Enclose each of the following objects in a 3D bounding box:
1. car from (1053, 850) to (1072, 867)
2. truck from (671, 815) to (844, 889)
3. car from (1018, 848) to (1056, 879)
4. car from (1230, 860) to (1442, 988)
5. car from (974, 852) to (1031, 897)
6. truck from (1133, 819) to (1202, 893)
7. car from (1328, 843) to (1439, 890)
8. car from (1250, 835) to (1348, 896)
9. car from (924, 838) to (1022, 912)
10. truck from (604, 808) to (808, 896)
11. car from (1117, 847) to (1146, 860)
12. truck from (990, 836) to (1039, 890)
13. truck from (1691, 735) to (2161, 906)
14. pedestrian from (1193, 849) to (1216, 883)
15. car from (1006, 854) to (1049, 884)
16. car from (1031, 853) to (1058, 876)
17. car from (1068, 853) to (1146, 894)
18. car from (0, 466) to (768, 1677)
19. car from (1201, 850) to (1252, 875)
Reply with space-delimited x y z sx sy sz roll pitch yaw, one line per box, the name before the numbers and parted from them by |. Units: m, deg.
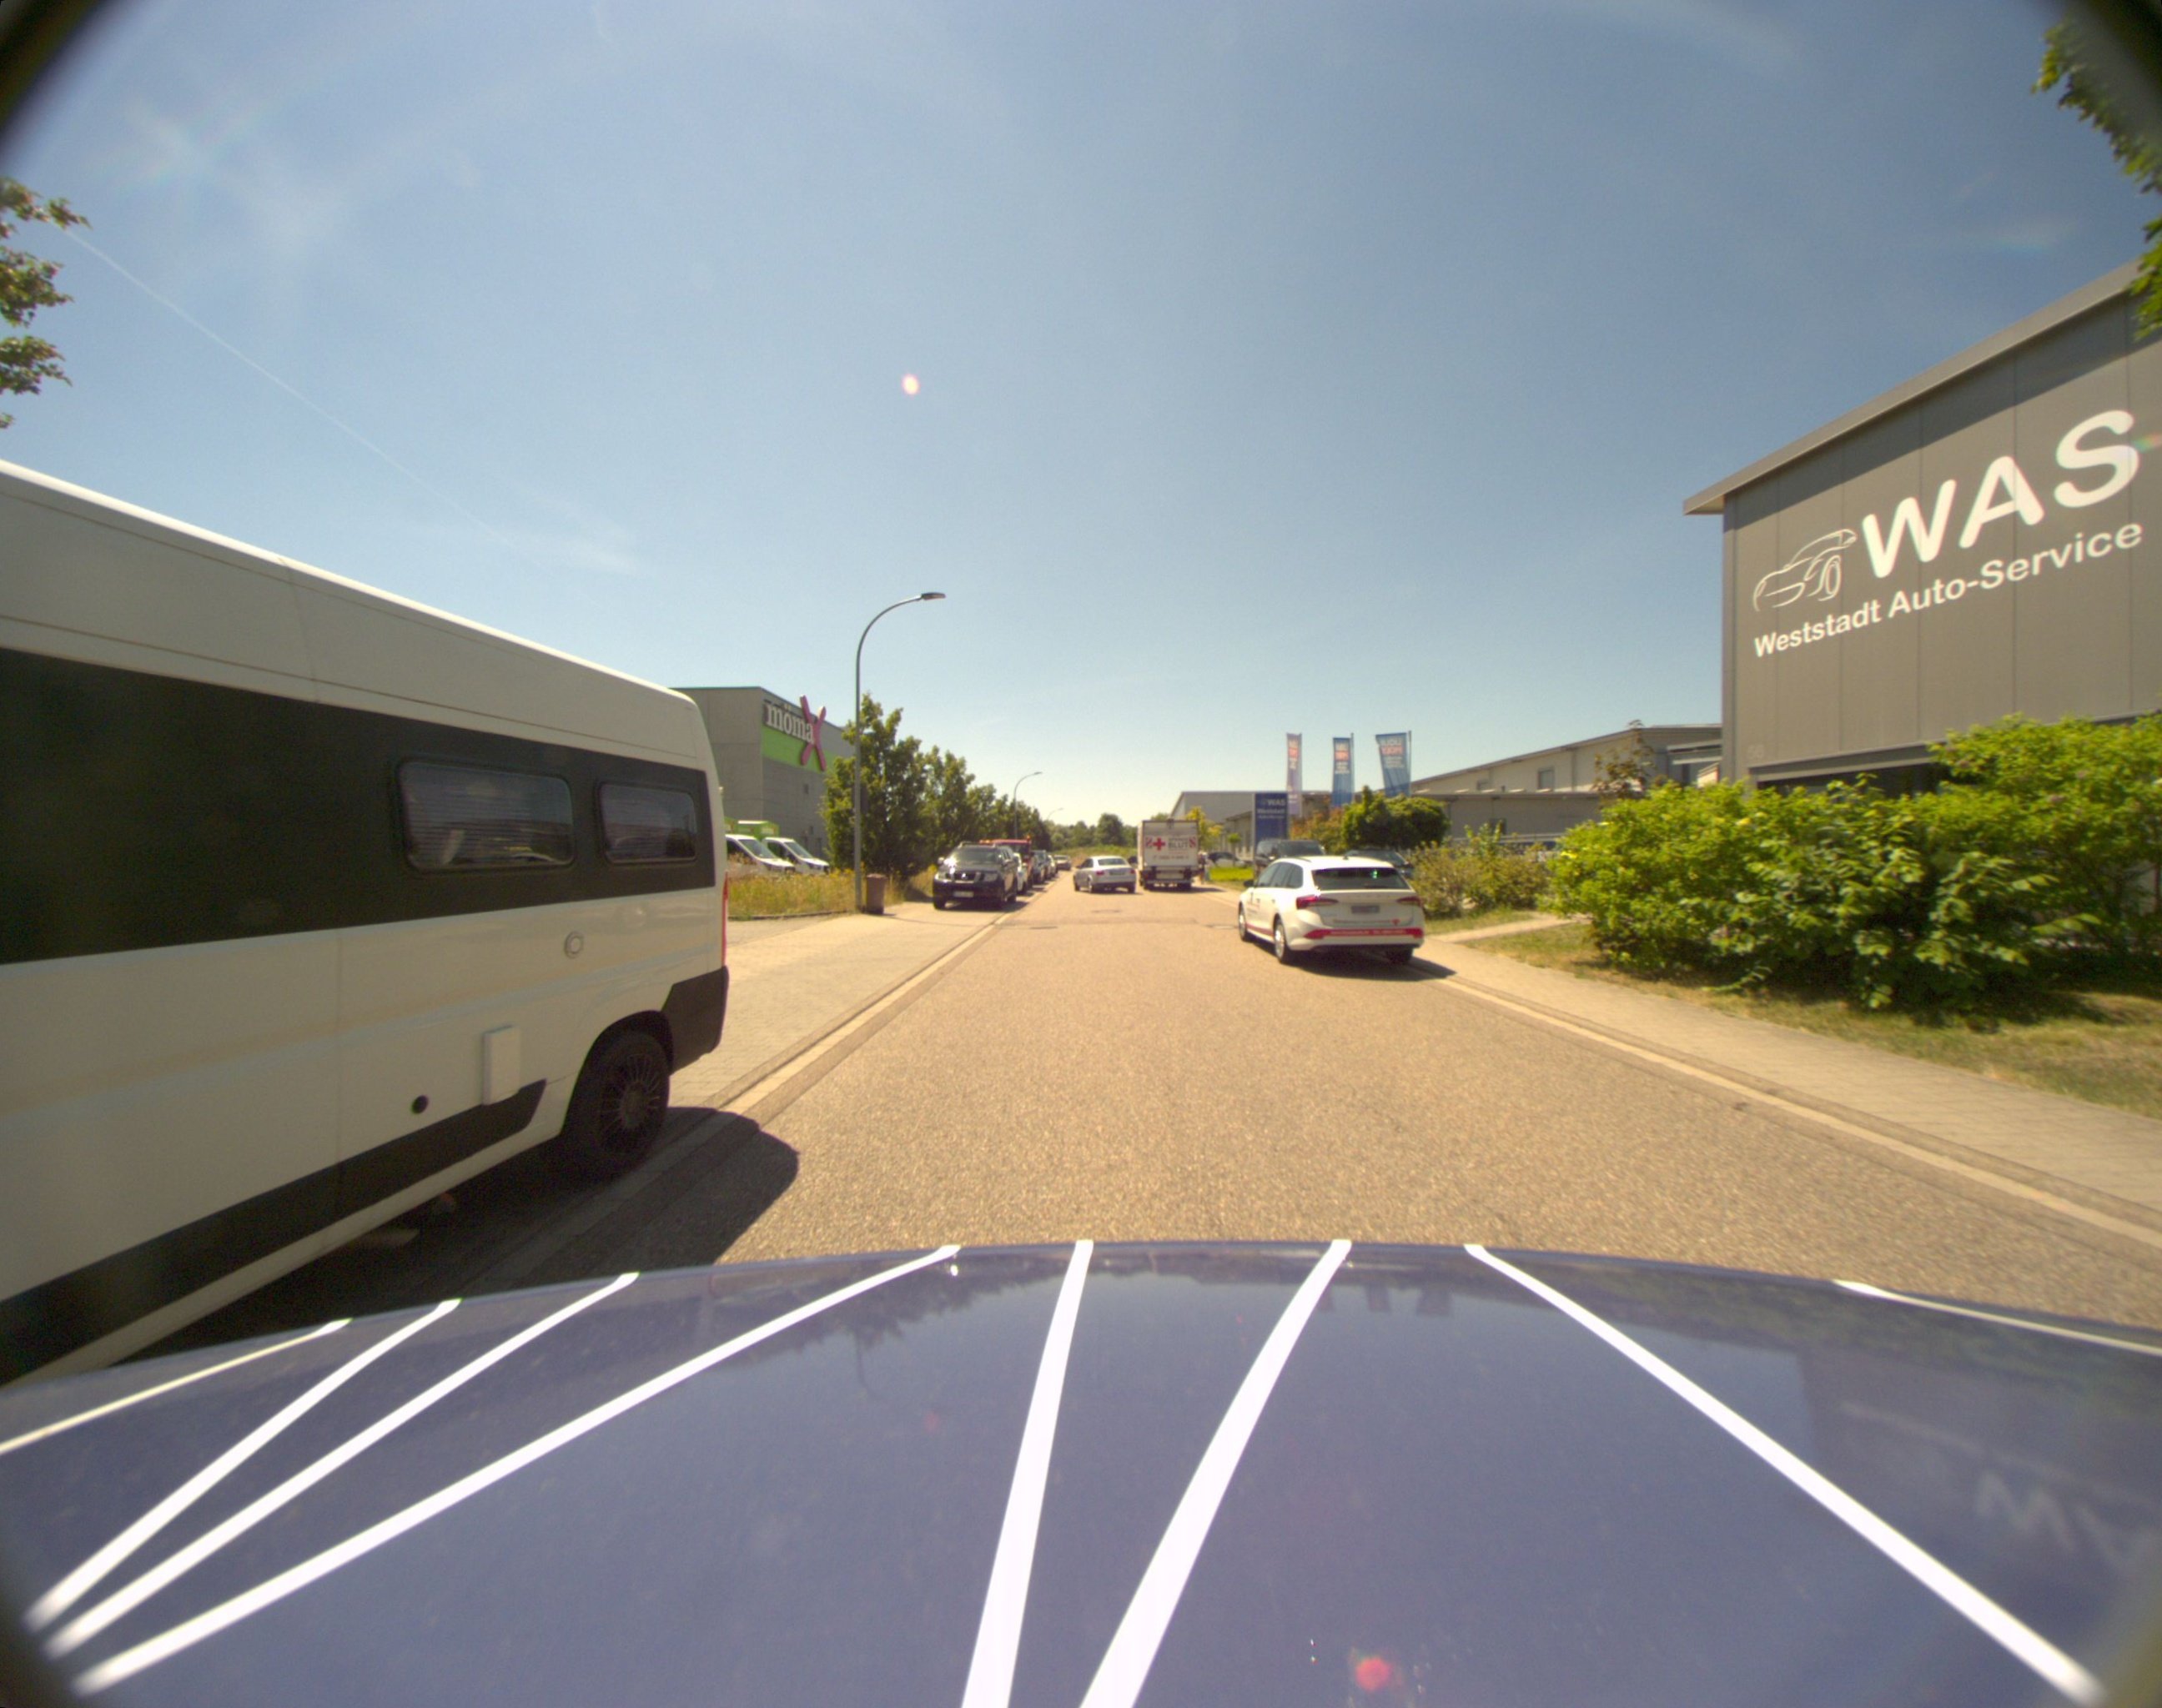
car | -1.927 0.454 79.097 1.809 1.626 4.458 1 0 1
truck | -12.860 -0.080 30.537 5.918 2.855 2.306 0 1 -2
car | -2.518 0.534 44.829 1.815 1.715 4.774 1 0 2
car | 3.527 0.871 11.439 1.734 1.450 4.491 -1 1 1
car | -2.905 0.718 28.909 1.743 1.522 3.999 2 0 -1
truck | 3.610 0.036 33.063 2.367 2.843 6.415 2 1 1
car | 10.222 0.385 26.119 1.936 1.408 4.769 -2 0 1
car | 7.580 0.355 26.989 1.998 1.945 5.218 -1 1 1
car | -2.984 0.533 22.123 1.998 1.874 5.155 1 0 1
truck | -12.792 -0.060 26.268 5.836 2.896 2.414 0 1 0
car | 7.695 -0.076 116.630 4.172 1.649 1.781 -5 1 1
truck | -2.847 0.360 33.369 1.683 2.169 4.390 2 0 1
truck | 20.197 -0.632 18.467 8.042 3.536 2.591 -2 0 30
pedestrian | 5.900 0.587 36.291 0.901 1.565 0.785 -2 0 2
car | -2.682 0.726 39.047 1.702 1.375 4.837 2 0 1
car | -2.388 0.667 50.392 1.718 1.474 4.772 1 0 -2
car | 0.918 0.726 29.959 1.790 1.414 4.406 1 1 -16
car | -3.331 0.441 1.920 2.273 2.483 6.153 0 0 3
car | 8.754 0.501 45.807 2.748 1.509 1.535 -1 0 0
